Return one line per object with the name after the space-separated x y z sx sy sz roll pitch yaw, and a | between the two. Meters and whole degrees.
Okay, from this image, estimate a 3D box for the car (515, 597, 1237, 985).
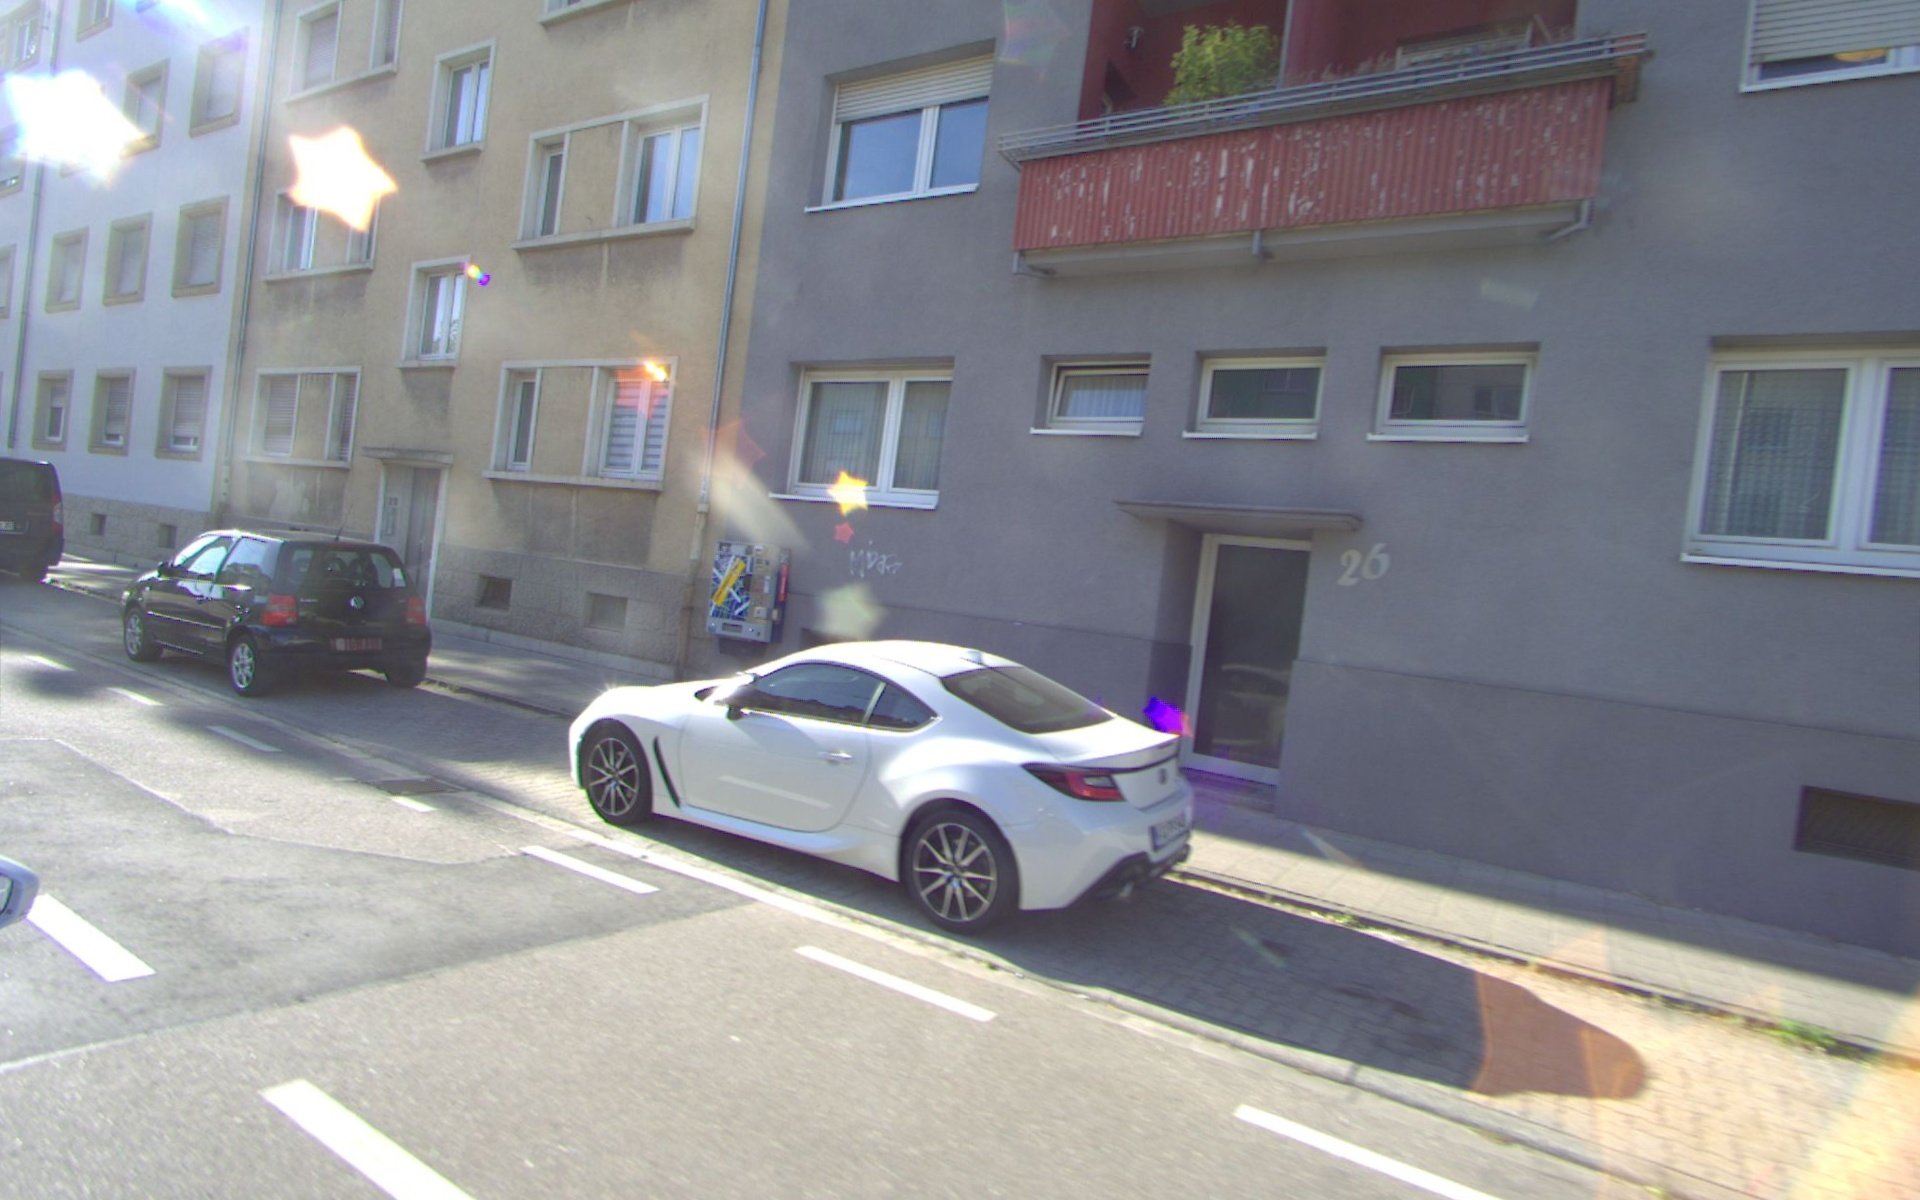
-0.669 0.859 6.274 4.231 1.293 1.702 7 3 31 | car

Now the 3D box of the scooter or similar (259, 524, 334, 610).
-10.594 -0.532 16.052 1.316 1.256 0.458 7 4 32 | scooter or similar

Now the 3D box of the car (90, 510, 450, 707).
-7.105 0.013 10.268 3.726 1.473 1.636 7 2 32 | car

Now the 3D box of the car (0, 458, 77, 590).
-16.408 -1.406 16.156 5.049 1.925 1.913 7 3 31 | car
